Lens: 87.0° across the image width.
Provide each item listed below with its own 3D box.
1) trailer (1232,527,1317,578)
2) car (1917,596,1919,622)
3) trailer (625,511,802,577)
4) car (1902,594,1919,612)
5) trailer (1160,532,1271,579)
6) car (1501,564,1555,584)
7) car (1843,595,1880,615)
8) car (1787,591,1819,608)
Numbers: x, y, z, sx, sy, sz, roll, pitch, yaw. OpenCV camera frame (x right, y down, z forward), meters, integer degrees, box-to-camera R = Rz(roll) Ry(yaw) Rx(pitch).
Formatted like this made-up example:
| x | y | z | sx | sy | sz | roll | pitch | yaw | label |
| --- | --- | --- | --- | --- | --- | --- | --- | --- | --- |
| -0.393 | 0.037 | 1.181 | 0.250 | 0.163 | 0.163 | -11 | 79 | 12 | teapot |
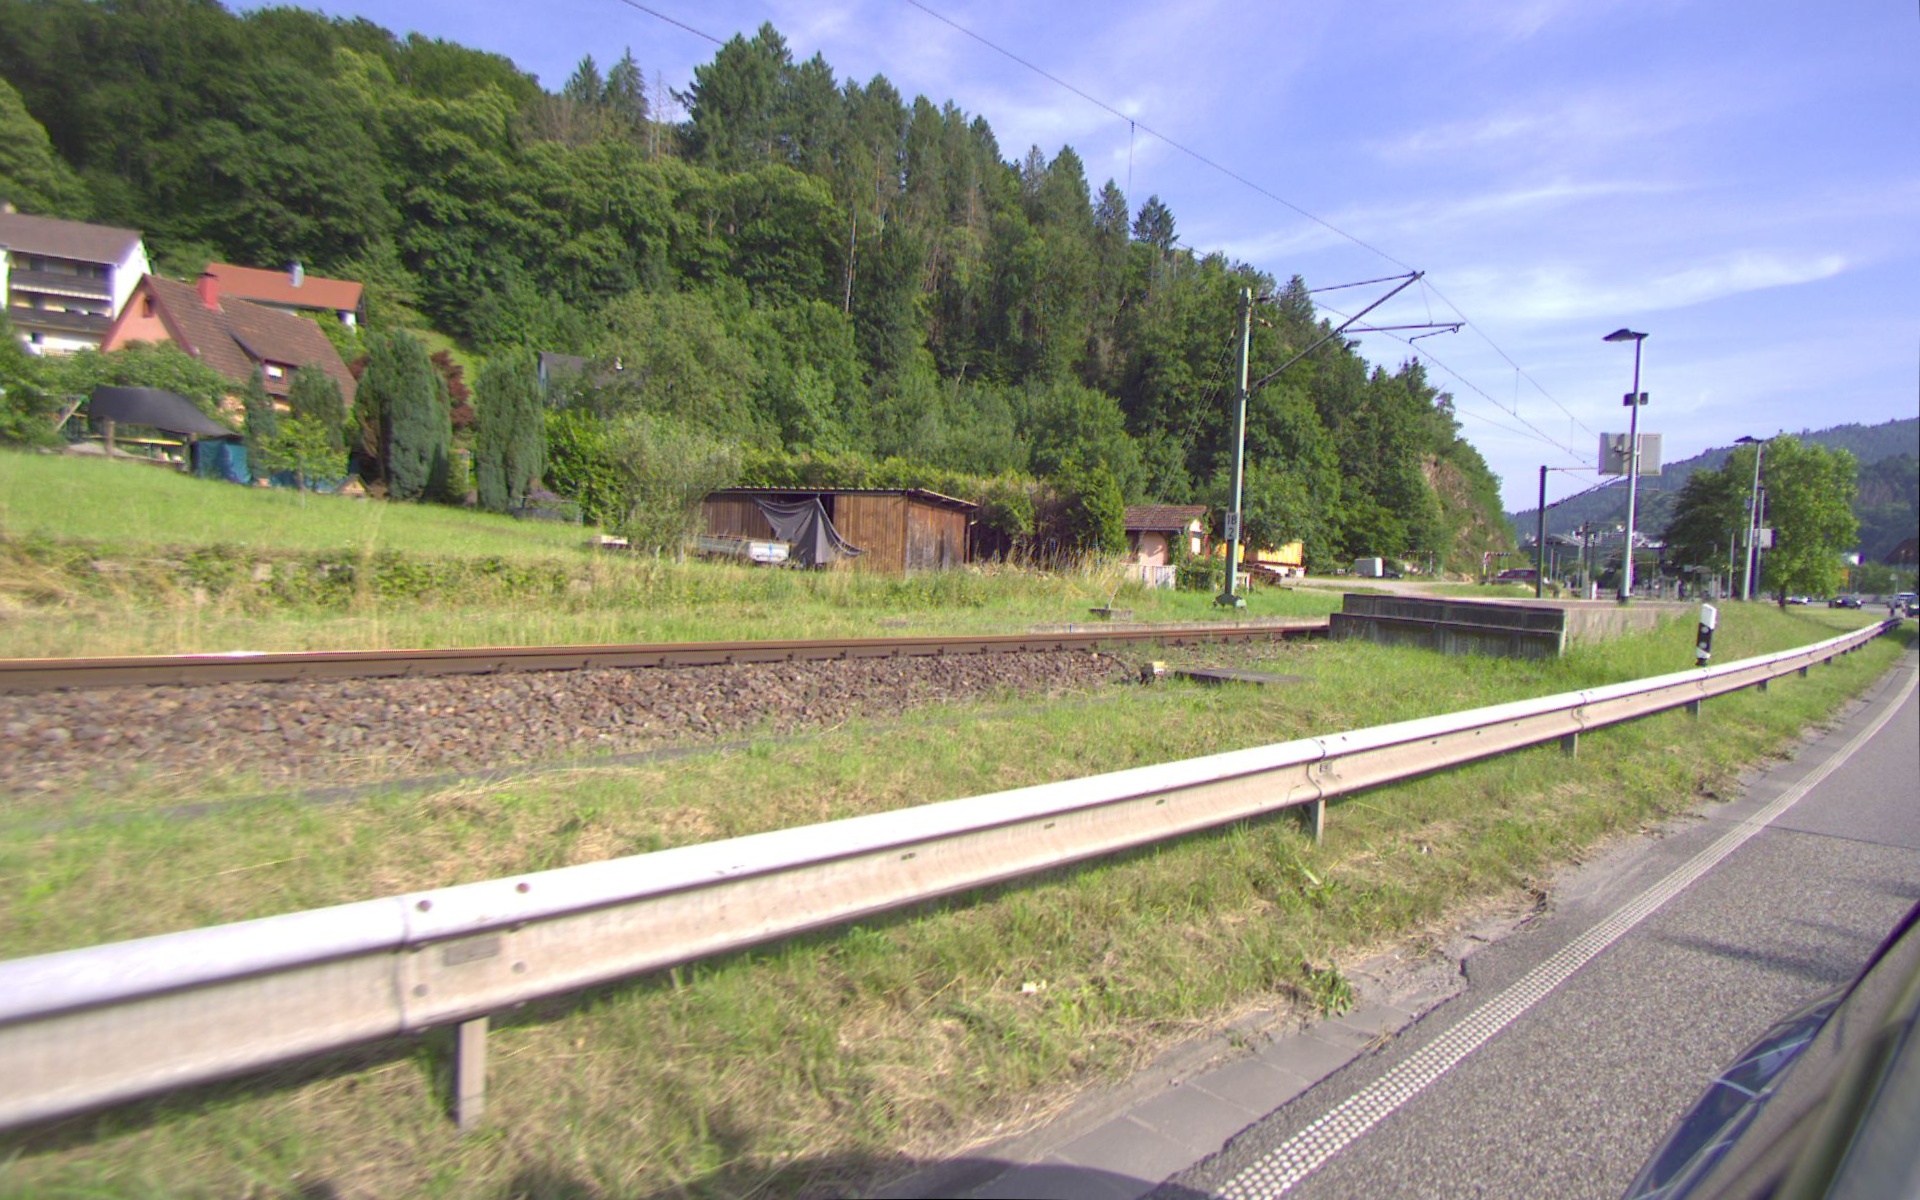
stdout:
| x | y | z | sx | sy | sz | roll | pitch | yaw | label |
| --- | --- | --- | --- | --- | --- | --- | --- | --- | --- |
| 29.333 | -4.328 | 94.154 | 9.041 | 4.538 | 2.737 | -1 | 1 | -36 | trailer |
| 67.944 | 0.600 | 70.327 | 4.110 | 1.767 | 1.882 | -1 | 2 | -44 | car |
| -6.464 | -1.465 | 26.479 | 4.076 | 1.044 | 2.297 | 11 | 4 | 33 | trailer |
| 94.895 | 0.338 | 100.112 | 1.874 | 1.767 | 4.127 | 2 | 1 | 34 | car |
| 17.961 | -3.009 | 70.761 | 9.049 | 3.062 | 2.734 | -1 | 0 | -40 | trailer |
| 61.593 | -2.807 | 109.745 | 4.944 | 2.039 | 1.975 | 0 | 1 | 36 | car |
| 85.065 | 0.472 | 95.580 | 1.872 | 1.767 | 4.131 | 2 | 1 | 32 | car |
| 95.359 | -0.058 | 114.556 | 1.868 | 1.767 | 4.139 | 2 | 1 | 27 | car |
